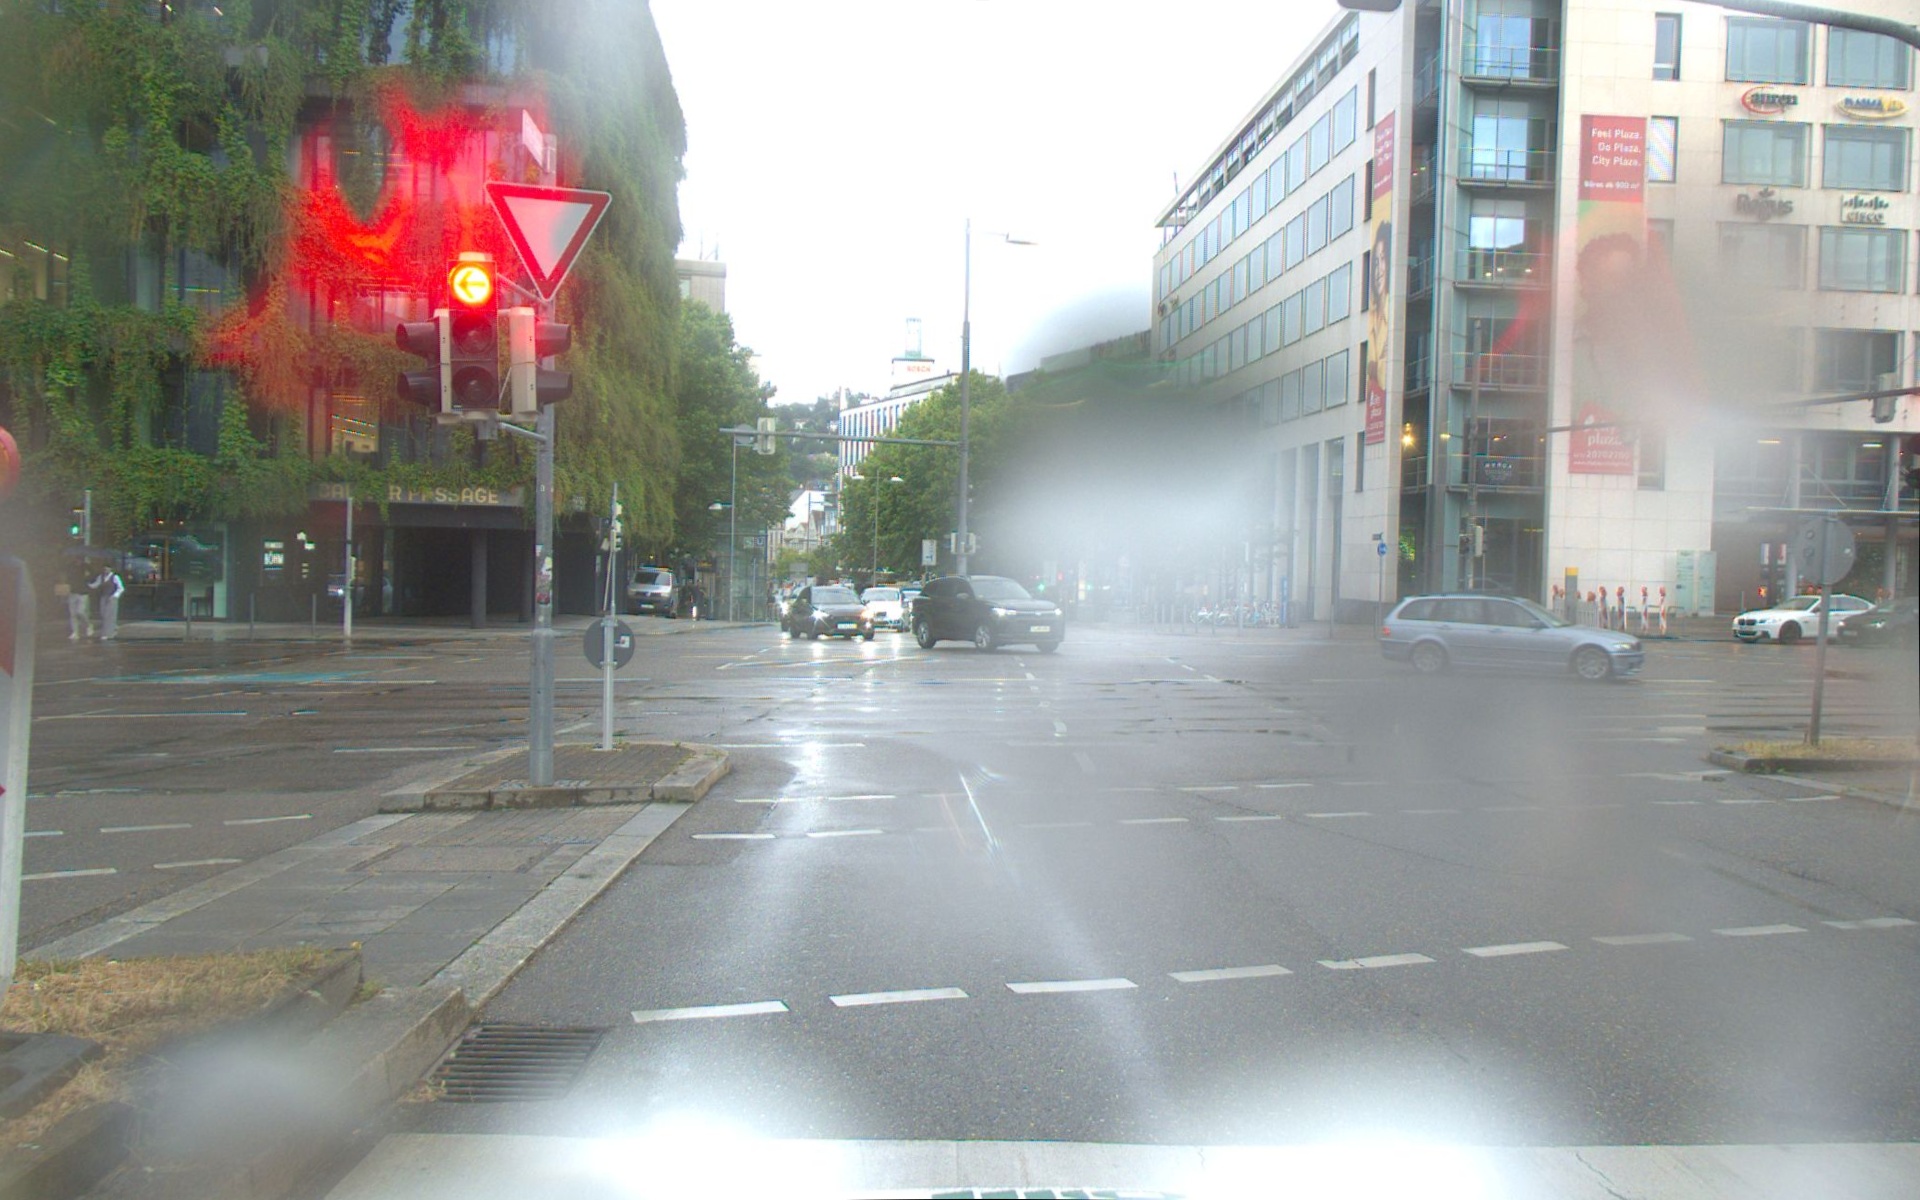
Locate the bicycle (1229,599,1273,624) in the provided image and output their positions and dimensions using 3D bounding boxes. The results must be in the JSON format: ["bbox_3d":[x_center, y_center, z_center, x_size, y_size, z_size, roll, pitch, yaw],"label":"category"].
[{"bbox_3d":[11.744,0.458,66.755,1.767,0.950,0.473,1,0,41],"label":"bicycle"}]

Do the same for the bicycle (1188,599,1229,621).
[{"bbox_3d":[10.958,0.438,72.919,1.757,0.950,0.475,1,0,2],"label":"bicycle"}]

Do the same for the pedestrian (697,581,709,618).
[{"bbox_3d":[-11.021,-0.017,70.936,0.428,1.550,0.547,1,0,-5],"label":"pedestrian"}]

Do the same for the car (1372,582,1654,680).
[{"bbox_3d":[9.642,0.487,28.897,4.367,1.512,1.996,1,2,31],"label":"car"}]

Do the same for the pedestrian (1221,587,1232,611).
[{"bbox_3d":[13.146,-0.049,81.544,0.349,1.194,0.411,0,0,-30],"label":"pedestrian"}]

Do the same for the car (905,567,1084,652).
[{"bbox_3d":[0.687,0.146,36.270,1.944,1.684,4.318,-1,2,-31],"label":"car"}]

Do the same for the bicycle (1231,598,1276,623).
[{"bbox_3d":[11.719,0.420,66.009,1.767,0.950,0.473,1,0,41],"label":"bicycle"}]

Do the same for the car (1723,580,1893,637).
[{"bbox_3d":[25.433,0.253,49.624,4.378,1.626,1.992,0,0,-16],"label":"car"}]

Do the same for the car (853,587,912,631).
[{"bbox_3d":[-2.783,0.298,58.448,1.954,1.469,4.551,1,0,-4],"label":"car"}]

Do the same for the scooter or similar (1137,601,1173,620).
[{"bbox_3d":[9.438,0.518,80.165,1.720,0.894,0.486,0,0,-20],"label":"scooter or similar"}]

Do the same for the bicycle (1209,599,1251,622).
[{"bbox_3d":[11.603,0.445,71.081,1.757,0.950,0.475,1,0,2],"label":"bicycle"}]

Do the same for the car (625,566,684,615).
[{"bbox_3d":[-12.530,-0.399,68.125,1.955,1.928,4.460,1,0,-5],"label":"car"}]

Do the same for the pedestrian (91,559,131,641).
[{"bbox_3d":[-18.864,0.000,36.768,0.731,1.788,0.969,0,0,-24],"label":"pedestrian"}]

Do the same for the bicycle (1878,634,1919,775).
[{"bbox_3d":[8.760,0.854,13.618,2.109,1.122,0.845,0,0,-15],"label":"bicycle"}]

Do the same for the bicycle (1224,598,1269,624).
[{"bbox_3d":[11.146,0.419,64.392,1.767,0.950,0.473,1,0,41],"label":"bicycle"}]

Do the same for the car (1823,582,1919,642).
[{"bbox_3d":[26.779,0.336,46.343,4.373,1.626,1.994,0,0,-13],"label":"car"}]

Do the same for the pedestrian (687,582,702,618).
[{"bbox_3d":[-11.365,-0.007,70.830,0.595,1.550,0.587,1,0,-5],"label":"pedestrian"}]

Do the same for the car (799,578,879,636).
[{"bbox_3d":[-3.374,0.159,45.416,1.822,1.473,4.611,0,1,-9],"label":"car"}]

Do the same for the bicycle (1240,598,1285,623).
[{"bbox_3d":[11.893,0.421,65.046,1.767,0.950,0.473,1,0,41],"label":"bicycle"}]

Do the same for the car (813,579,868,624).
[{"bbox_3d":[-5.183,0.048,71.184,2.133,1.855,4.637,1,0,-7],"label":"car"}]

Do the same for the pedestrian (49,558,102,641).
[{"bbox_3d":[-19.486,-0.006,36.466,0.923,1.788,1.163,0,0,-24],"label":"pedestrian"}]
